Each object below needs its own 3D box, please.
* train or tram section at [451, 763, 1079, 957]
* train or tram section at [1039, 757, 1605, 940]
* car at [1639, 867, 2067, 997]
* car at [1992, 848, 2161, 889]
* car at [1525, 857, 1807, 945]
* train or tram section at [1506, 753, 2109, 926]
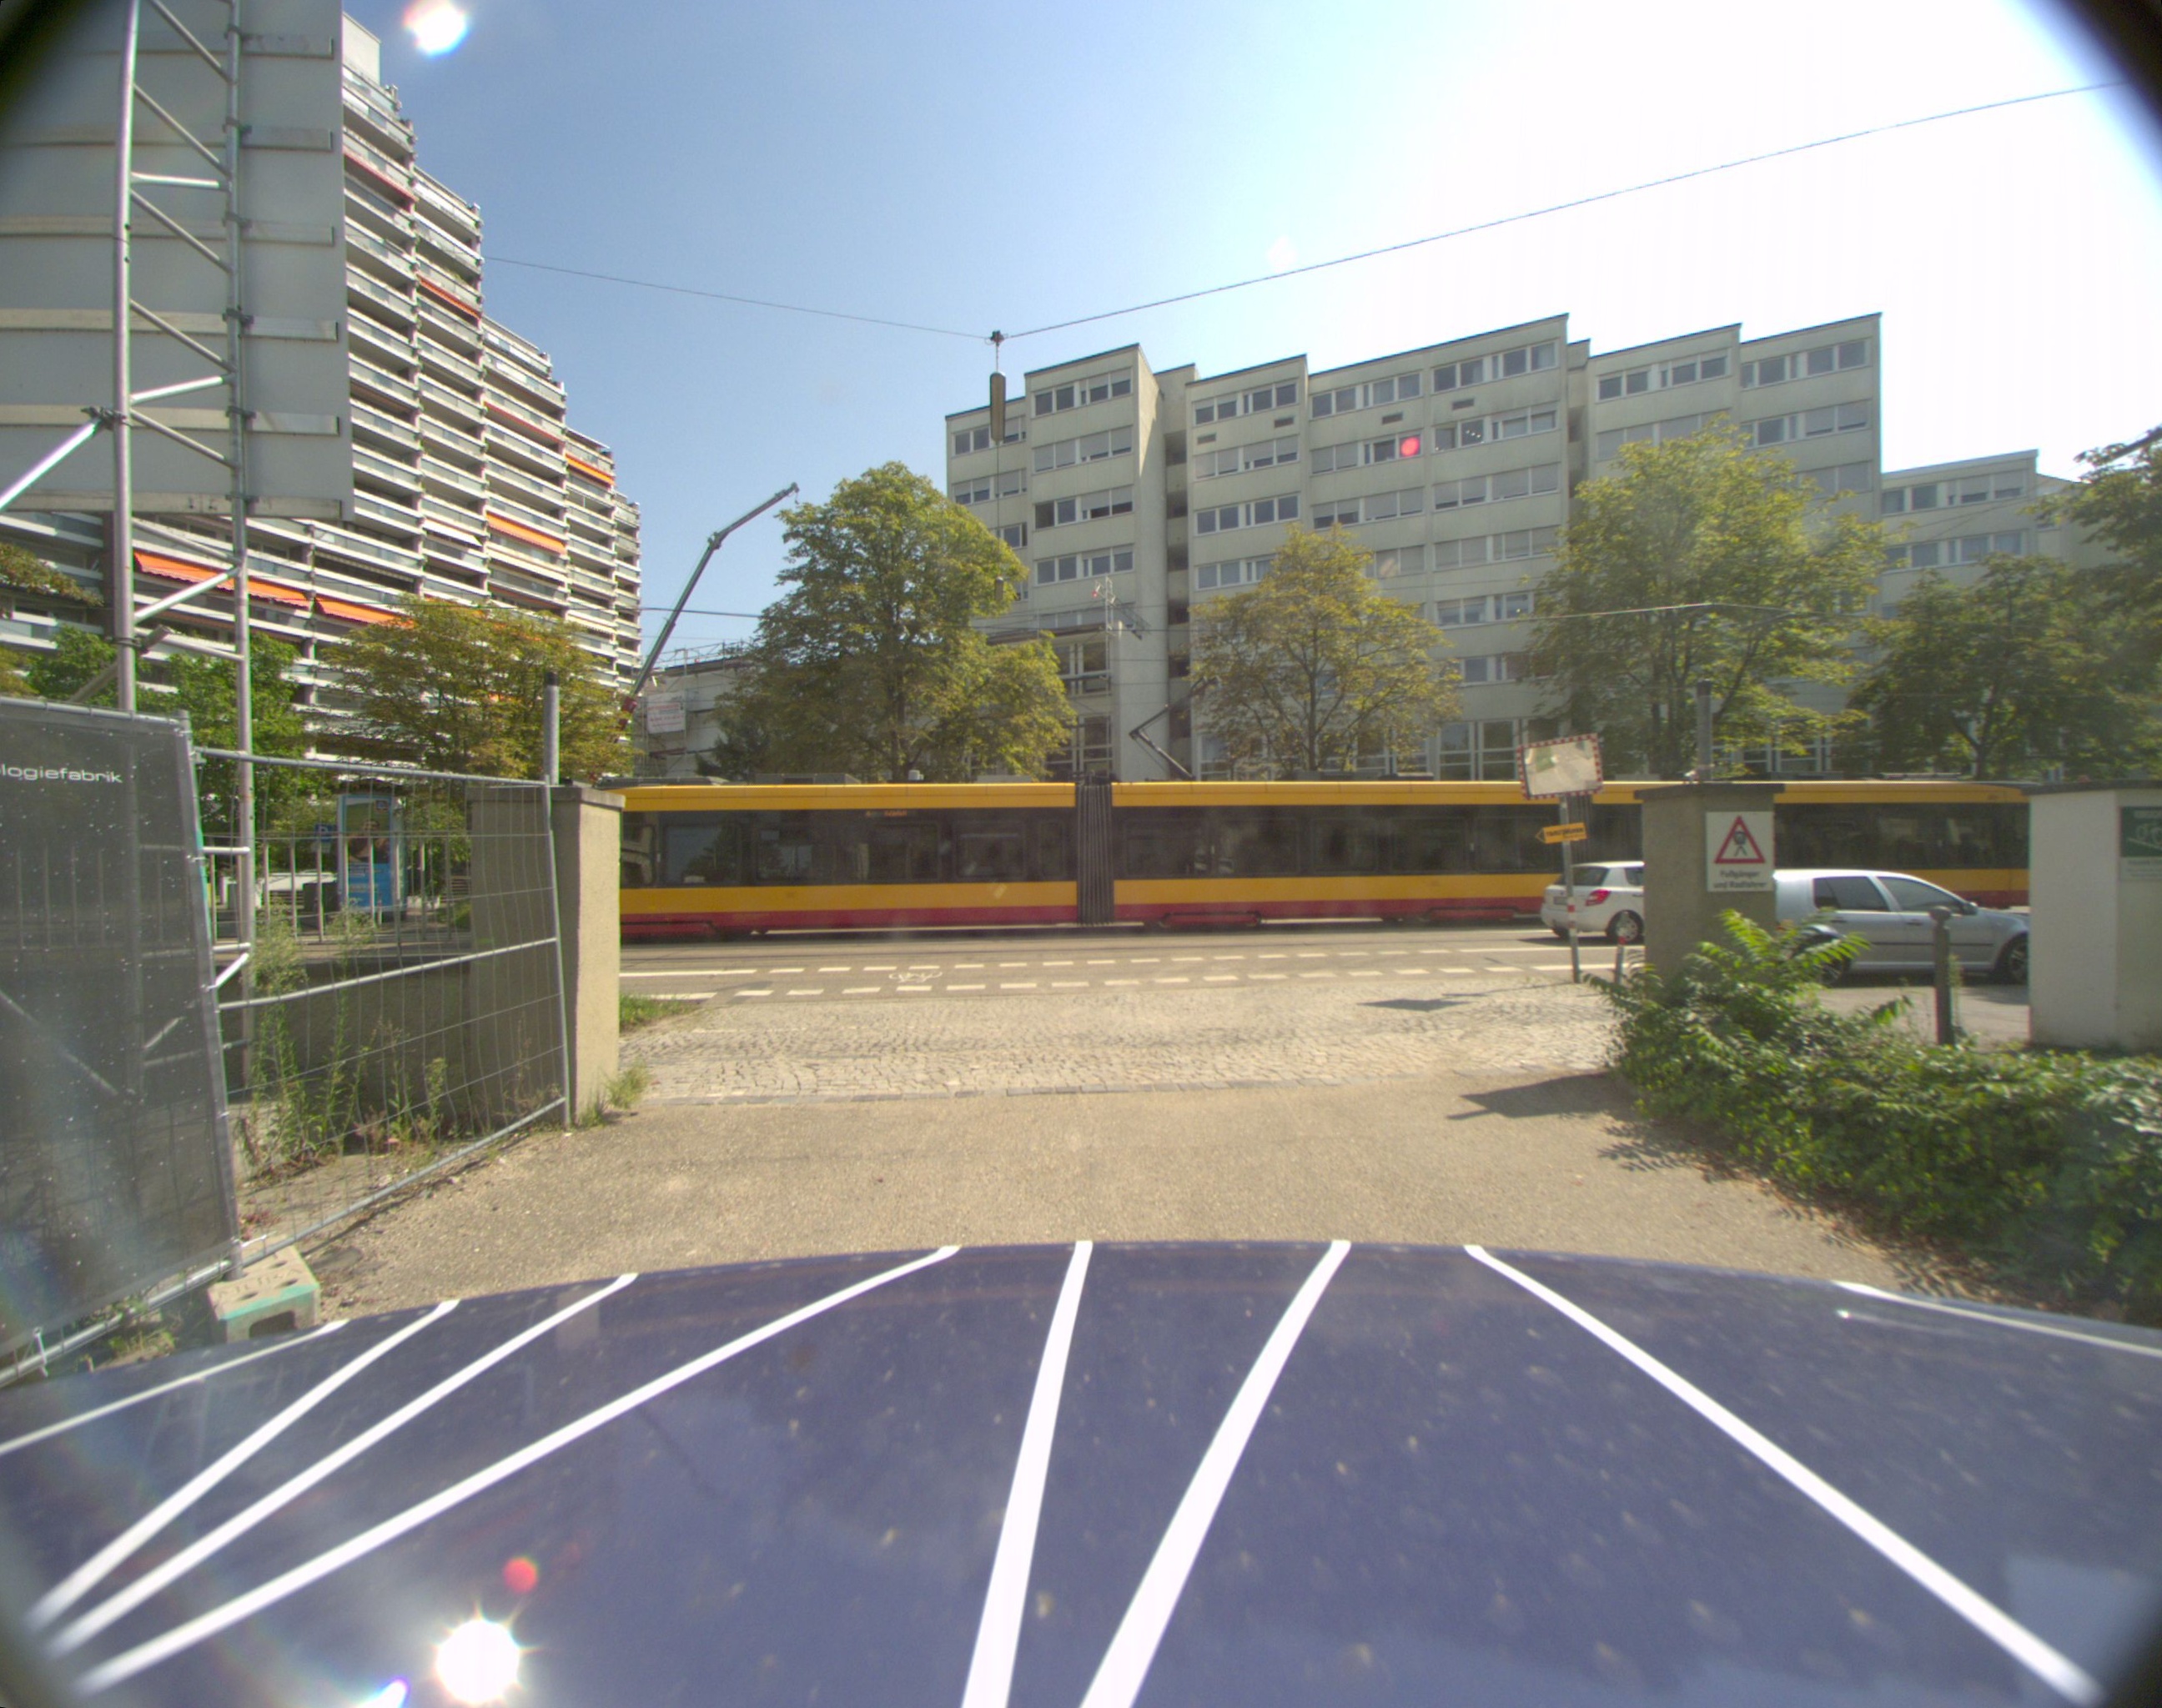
[{"bbox_3d":[-6.392,0.064,17.306,12.407,3.683,3.507,-1,1,-4],"label":"train or tram section"},{"bbox_3d":[5.273,-0.185,18.125,12.407,3.683,3.507,-1,1,-4],"label":"train or tram section"},{"bbox_3d":[9.656,0.920,9.730,3.731,1.437,1.797,-1,-1,-3],"label":"car"},{"bbox_3d":[37.196,0.508,28.532,3.660,1.443,1.680,0,1,44],"label":"car"},{"bbox_3d":[10.866,0.824,14.284,4.018,1.483,1.824,-1,0,-5],"label":"car"},{"bbox_3d":[17.713,-0.393,19.052,12.407,3.683,3.507,-1,1,-4],"label":"train or tram section"}]
